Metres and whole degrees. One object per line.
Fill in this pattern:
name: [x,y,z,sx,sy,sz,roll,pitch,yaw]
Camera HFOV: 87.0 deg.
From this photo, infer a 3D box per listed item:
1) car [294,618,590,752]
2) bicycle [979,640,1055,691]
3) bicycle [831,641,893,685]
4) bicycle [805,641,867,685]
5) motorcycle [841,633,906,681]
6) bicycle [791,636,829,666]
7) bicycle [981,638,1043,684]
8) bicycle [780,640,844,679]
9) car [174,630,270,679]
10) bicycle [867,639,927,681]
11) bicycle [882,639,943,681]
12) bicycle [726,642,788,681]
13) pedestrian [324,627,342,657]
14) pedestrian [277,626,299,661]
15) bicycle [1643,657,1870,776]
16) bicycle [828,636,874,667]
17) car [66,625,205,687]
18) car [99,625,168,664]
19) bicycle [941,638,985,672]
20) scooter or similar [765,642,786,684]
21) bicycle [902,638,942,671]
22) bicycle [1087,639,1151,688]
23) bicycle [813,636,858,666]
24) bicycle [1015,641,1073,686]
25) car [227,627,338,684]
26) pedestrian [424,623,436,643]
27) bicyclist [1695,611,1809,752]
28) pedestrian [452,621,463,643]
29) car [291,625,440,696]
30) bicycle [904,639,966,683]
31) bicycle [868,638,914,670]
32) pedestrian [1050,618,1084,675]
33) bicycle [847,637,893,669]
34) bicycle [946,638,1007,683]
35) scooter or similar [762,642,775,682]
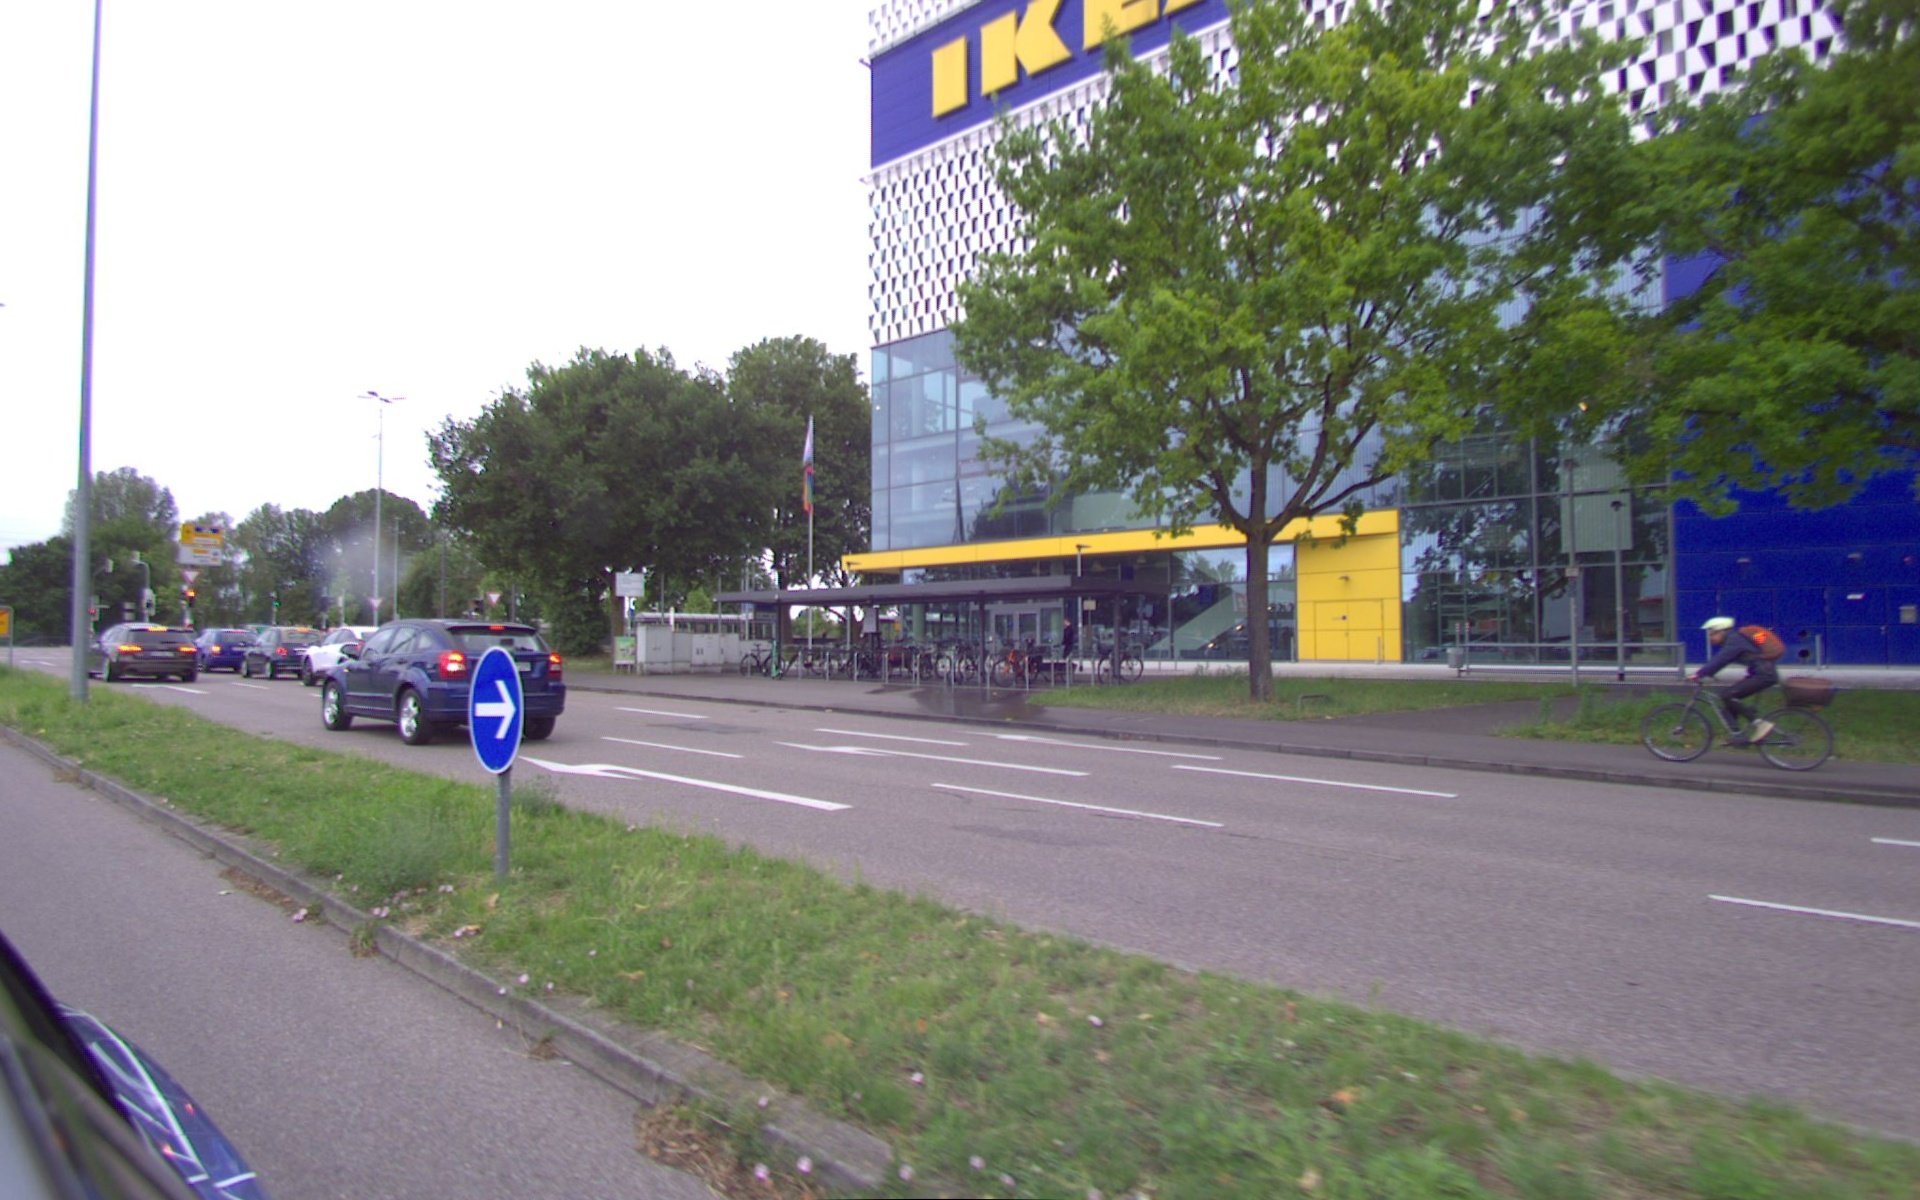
car: [-7.013,1.045,13.522,4.436,1.497,1.911,-2,-4,40]
bicycle: [1.471,1.658,25.940,1.988,1.165,0.595,-1,-1,-34]
bicycle: [-2.802,1.798,29.121,0.593,1.165,1.874,-2,-1,41]
bicycle: [-3.630,1.842,29.813,0.593,1.165,1.874,-2,-1,41]
motorcycle: [-2.705,1.782,31.986,0.796,1.366,2.476,-2,-1,29]
bicycle: [-6.359,2.155,42.968,0.590,1.165,2.005,-2,-1,25]
bicycle: [1.474,1.699,28.357,0.593,1.165,1.994,-2,-1,41]
bicycle: [-4.886,1.957,33.407,1.988,1.165,0.595,-1,-1,-32]
car: [-24.311,1.771,33.298,4.141,1.455,1.586,-1,-4,41]
bicycle: [-1.909,1.833,31.073,0.593,1.165,1.994,-2,-1,41]
bicycle: [-1.424,1.795,30.552,0.593,1.165,1.994,-2,-1,41]
bicycle: [-6.401,1.931,31.977,0.593,1.165,1.994,-2,-2,41]
pedestrian: [-36.460,2.441,58.834,0.666,1.725,0.766,2,-3,-45]
pedestrian: [-36.256,2.339,54.615,0.686,1.778,0.656,3,-3,39]
bicycle: [9.437,1.337,12.074,2.055,1.260,0.636,-2,-1,41]
bicycle: [-4.435,2.092,41.379,0.593,1.165,1.995,-2,-1,39]
car: [-21.081,1.398,25.822,4.427,1.447,1.864,-1,-4,40]
car: [-33.514,1.801,41.022,3.207,1.514,1.586,-2,-3,40]
bicycle: [0.121,2.001,37.406,0.592,1.165,1.998,-2,-1,35]
scooter or similar: [-5.442,1.844,29.775,0.417,1.157,1.353,-1,-1,-17]
bicycle: [-1.454,2.065,38.686,0.591,1.165,2.003,-2,-1,28]
bicycle: [4.104,1.601,26.011,0.594,1.131,1.993,-2,-1,43]
bicycle: [-5.194,2.125,42.189,0.593,1.165,1.995,-2,-1,39]
bicycle: [2.288,1.690,27.249,0.593,1.090,1.790,-2,-1,41]
car: [-19.644,1.575,29.281,4.035,1.509,1.586,-1,-4,41]
pedestrian: [-42.145,2.601,80.430,0.711,1.572,0.623,-5,-4,43]
bicyclist: [9.423,0.937,12.051,0.999,1.589,0.633,-2,-1,41]
pedestrian: [-40.788,2.598,82.134,0.788,1.755,0.578,-5,-5,43]
car: [-14.657,1.440,24.877,4.181,1.530,1.910,0,-3,42]
bicycle: [-0.705,1.770,29.514,0.593,1.165,1.994,-2,-1,41]
bicycle: [-2.700,2.118,39.811,0.593,1.165,1.995,-2,-1,39]
pedestrian: [3.344,1.438,31.691,0.808,1.759,0.670,-3,-3,41]
bicycle: [-3.614,2.116,40.638,0.593,1.165,1.995,-2,-1,39]
bicycle: [0.490,1.728,29.207,0.593,1.165,1.994,-2,-1,41]
scooter or similar: [-5.930,1.906,31.343,0.353,1.194,1.296,-1,-1,-11]
